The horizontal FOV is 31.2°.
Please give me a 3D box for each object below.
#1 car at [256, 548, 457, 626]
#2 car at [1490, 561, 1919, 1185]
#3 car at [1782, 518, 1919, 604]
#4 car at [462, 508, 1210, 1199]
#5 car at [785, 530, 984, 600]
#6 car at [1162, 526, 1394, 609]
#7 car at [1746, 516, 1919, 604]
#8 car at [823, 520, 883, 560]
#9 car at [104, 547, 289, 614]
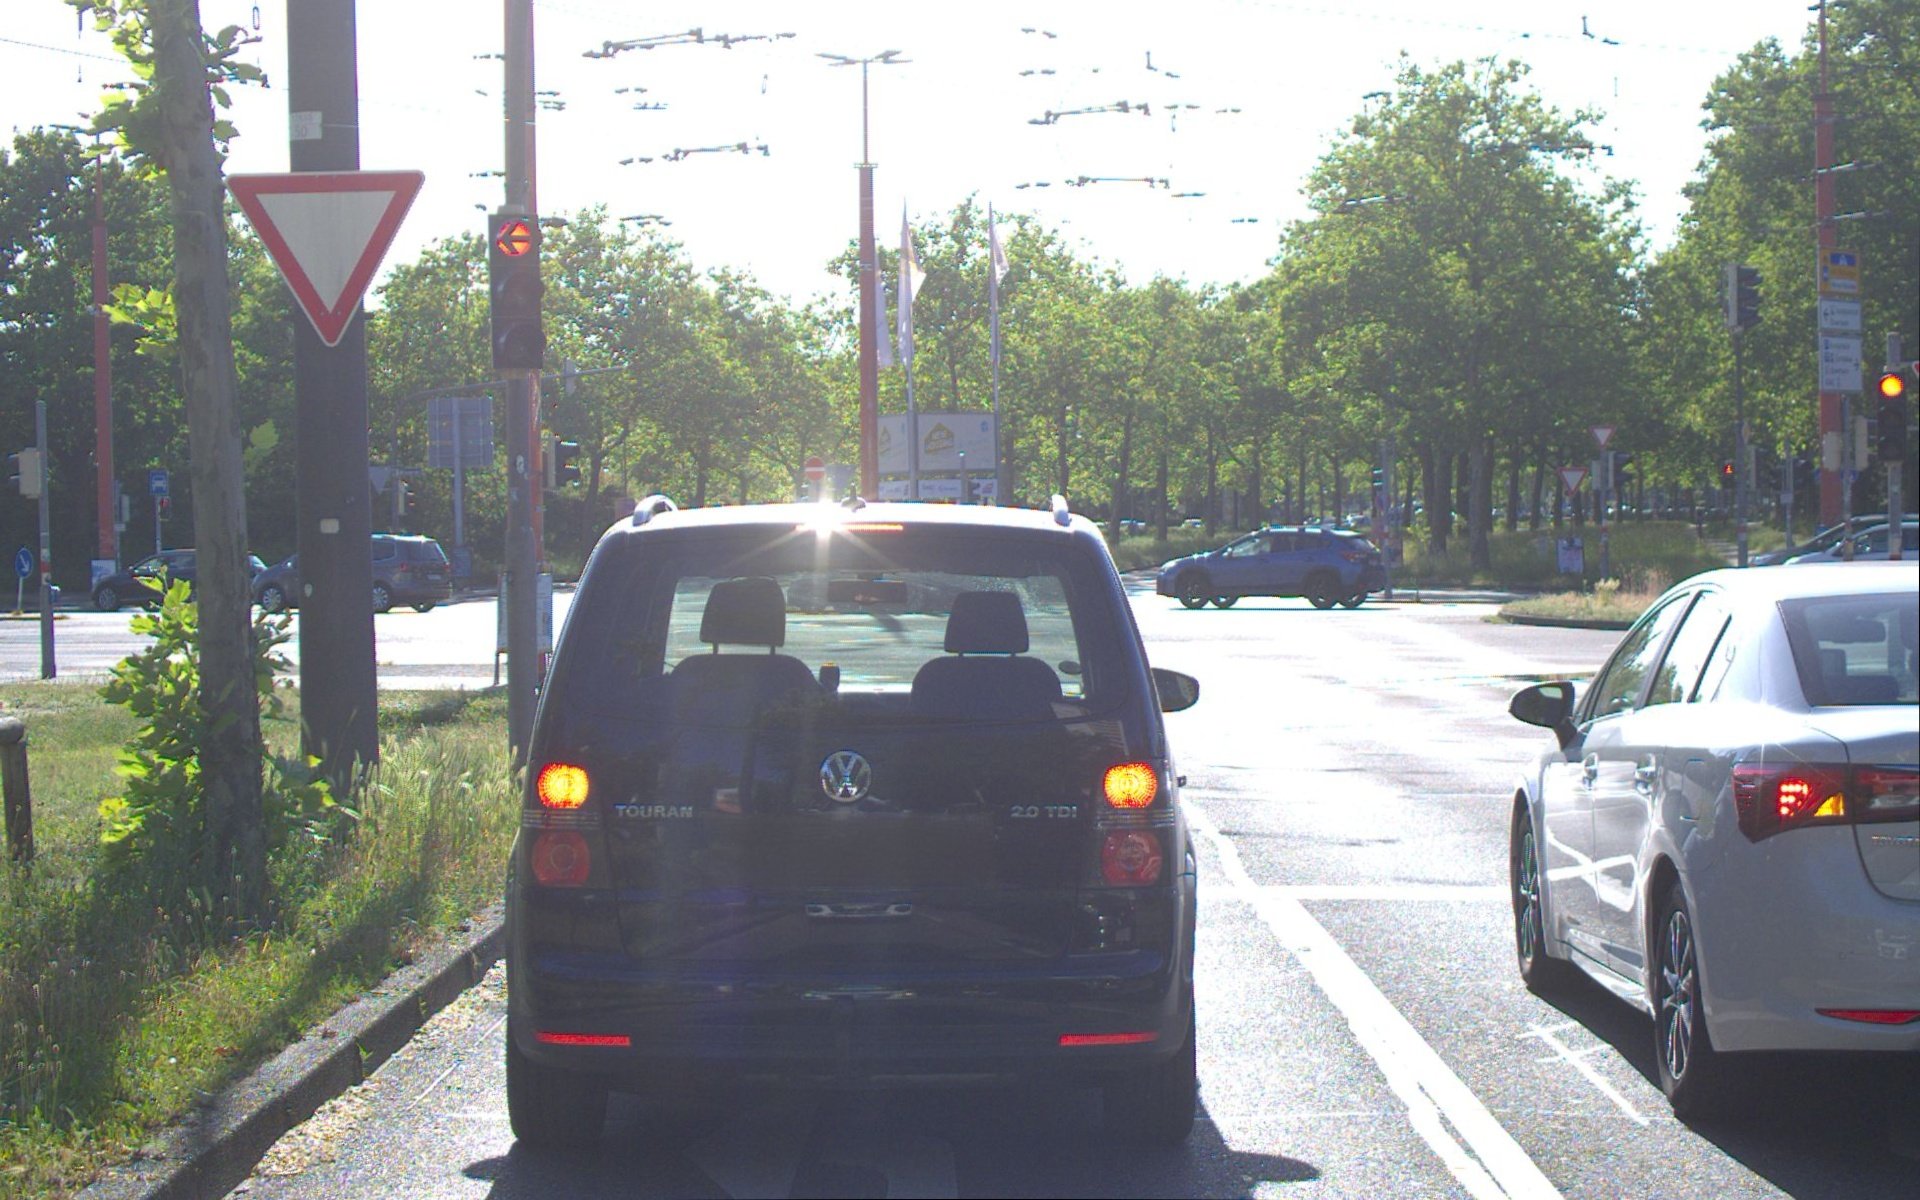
[{"bbox_3d":[-13.520,-0.293,76.968,4.185,1.638,1.757,1,1,27],"label":"car"},{"bbox_3d":[2.715,0.620,10.113,1.720,1.433,4.198,1,1,1],"label":"car"},{"bbox_3d":[16.899,-0.705,61.836,3.824,1.517,1.693,0,1,27],"label":"car"},{"bbox_3d":[-0.315,0.571,9.825,1.700,1.616,3.897,1,1,-1],"label":"car"},{"bbox_3d":[-1.647,-0.757,74.902,3.969,1.436,1.684,1,1,24],"label":"car"},{"bbox_3d":[6.222,-0.640,67.272,4.125,1.592,1.826,0,1,27],"label":"car"},{"bbox_3d":[17.339,-0.773,65.856,4.125,1.638,1.850,0,1,26],"label":"car"},{"bbox_3d":[-4.470,-2.512,144.200,1.915,1.630,3.999,1,1,7],"label":"car"},{"bbox_3d":[-18.469,-0.475,83.178,4.127,1.505,1.820,1,1,26],"label":"car"}]
